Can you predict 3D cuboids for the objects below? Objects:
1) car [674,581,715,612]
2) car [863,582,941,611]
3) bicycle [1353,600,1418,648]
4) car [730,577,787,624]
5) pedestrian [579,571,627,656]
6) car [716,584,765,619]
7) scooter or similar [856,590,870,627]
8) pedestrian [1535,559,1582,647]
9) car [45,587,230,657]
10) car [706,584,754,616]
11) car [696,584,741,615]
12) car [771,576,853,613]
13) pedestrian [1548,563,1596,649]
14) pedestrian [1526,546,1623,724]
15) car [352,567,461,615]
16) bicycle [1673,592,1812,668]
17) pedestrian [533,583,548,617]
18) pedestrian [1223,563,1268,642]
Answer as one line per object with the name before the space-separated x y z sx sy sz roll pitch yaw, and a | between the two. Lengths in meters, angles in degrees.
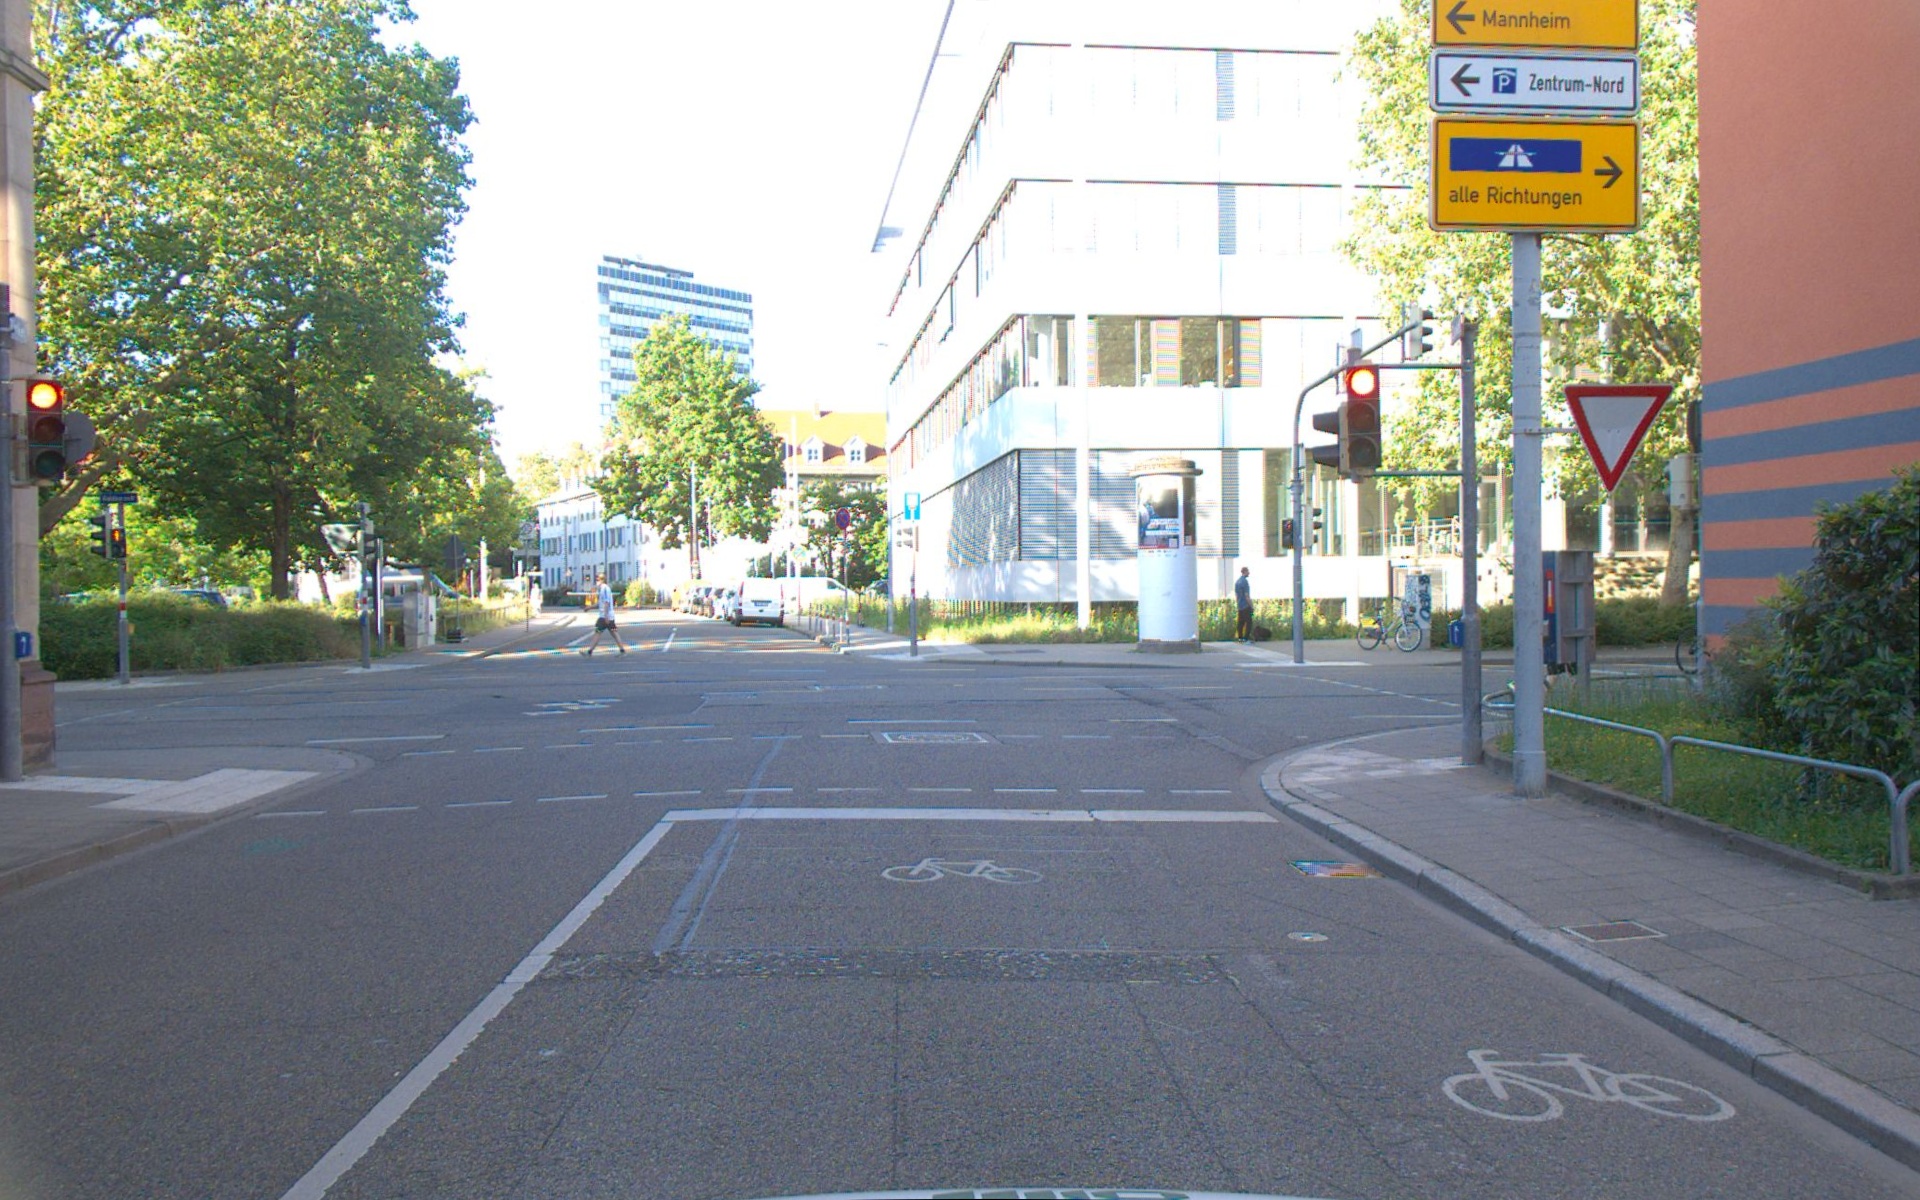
car | -15.378 -0.195 95.586 1.960 1.755 4.635 1 0 -14
car | -3.670 -0.213 104.704 4.563 1.755 1.991 1 0 -17
bicycle | 9.326 0.514 36.263 0.376 1.026 1.410 -1 0 -42
car | -7.912 0.025 64.684 1.957 1.755 4.641 1 0 -10
pedestrian | -8.135 0.309 37.724 0.895 1.901 0.742 1 -1 -1
car | -10.190 0.072 76.634 1.958 1.525 4.639 1 0 -11
scooter or similar | -3.424 0.276 58.217 0.429 1.278 1.418 -1 0 -5
pedestrian | 12.624 0.065 34.909 0.749 1.826 0.648 1 -1 2
car | -18.363 0.485 37.046 3.347 1.483 1.646 1 0 -11
car | -11.303 0.005 81.065 1.959 1.525 4.272 1 0 -13
car | -12.546 -0.036 85.770 1.959 1.525 4.637 1 0 -13
car | -9.195 -0.330 102.778 4.718 2.196 1.990 1 0 -18
pedestrian | 12.654 0.116 34.193 0.749 1.749 0.648 1 -1 2
pedestrian | 6.548 0.364 17.624 0.712 1.842 0.692 1 -1 -37
car | -24.958 -0.379 74.663 4.363 2.049 1.995 1 0 -10
bicycle | 12.523 0.475 26.508 1.922 1.172 0.593 -1 0 5
pedestrian | -20.650 0.002 81.390 0.688 1.614 0.634 1 -1 -16
pedestrian | 6.736 0.059 39.075 0.895 1.847 0.762 1 -1 -1
